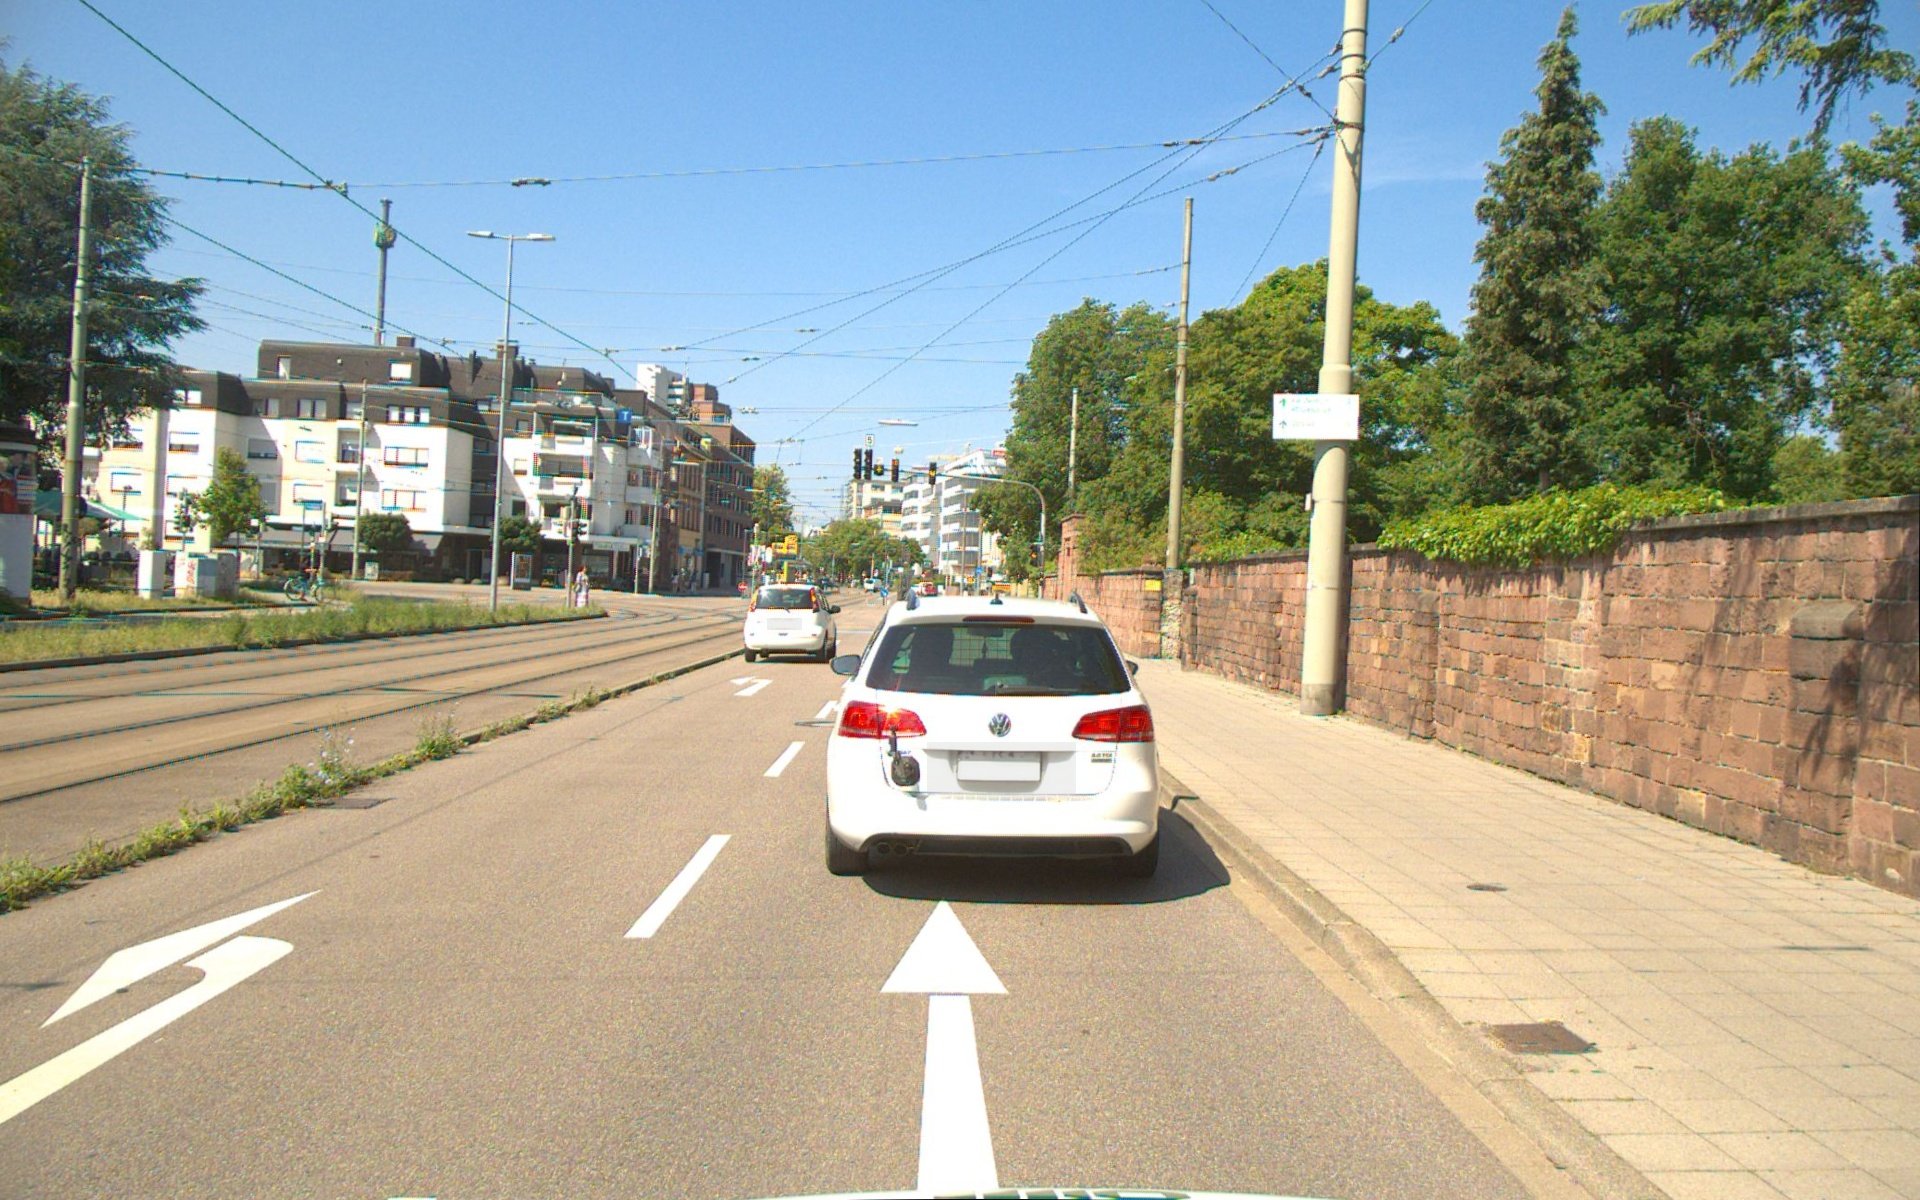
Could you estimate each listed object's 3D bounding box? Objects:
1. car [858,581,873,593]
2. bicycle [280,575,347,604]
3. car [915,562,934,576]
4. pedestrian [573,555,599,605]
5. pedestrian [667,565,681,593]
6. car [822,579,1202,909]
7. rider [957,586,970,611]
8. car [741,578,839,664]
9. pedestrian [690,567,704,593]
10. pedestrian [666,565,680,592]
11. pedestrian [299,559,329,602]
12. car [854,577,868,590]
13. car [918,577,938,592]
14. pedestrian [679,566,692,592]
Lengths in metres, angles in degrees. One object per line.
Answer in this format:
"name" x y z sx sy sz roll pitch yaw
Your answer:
"car" -13.802 -1.940 241.572 1.668 1.618 3.525 2 0 -11
"bicycle" -22.875 -0.360 58.549 0.544 0.937 2.162 2 0 44
"car" -5.455 -4.773 252.796 1.960 2.048 3.985 2 1 -15
"pedestrian" -13.664 -0.730 60.465 0.811 1.769 0.930 2 0 -9
"pedestrian" -21.747 -1.617 125.784 0.918 2.049 0.990 2 0 -5
"car" 0.234 0.635 9.525 1.742 1.516 3.846 0 1 0
"rider" 0.275 -0.097 119.558 0.873 1.758 2.203 2 0 0
"car" -3.494 0.391 34.554 1.695 1.624 4.010 2 1 -2
"pedestrian" -20.896 -1.610 131.404 0.919 2.049 0.989 2 0 -7
"pedestrian" -22.751 -1.690 131.041 0.918 2.049 0.989 2 0 -5
"pedestrian" -23.096 -0.689 59.119 0.557 1.513 0.810 2 0 45
"car" -12.627 -2.145 211.761 1.664 1.618 3.534 2 1 -2
"car" -4.584 -2.294 238.397 1.960 2.048 3.985 2 1 -15
"pedestrian" -21.954 -1.662 132.314 0.919 2.049 0.989 2 0 -6
